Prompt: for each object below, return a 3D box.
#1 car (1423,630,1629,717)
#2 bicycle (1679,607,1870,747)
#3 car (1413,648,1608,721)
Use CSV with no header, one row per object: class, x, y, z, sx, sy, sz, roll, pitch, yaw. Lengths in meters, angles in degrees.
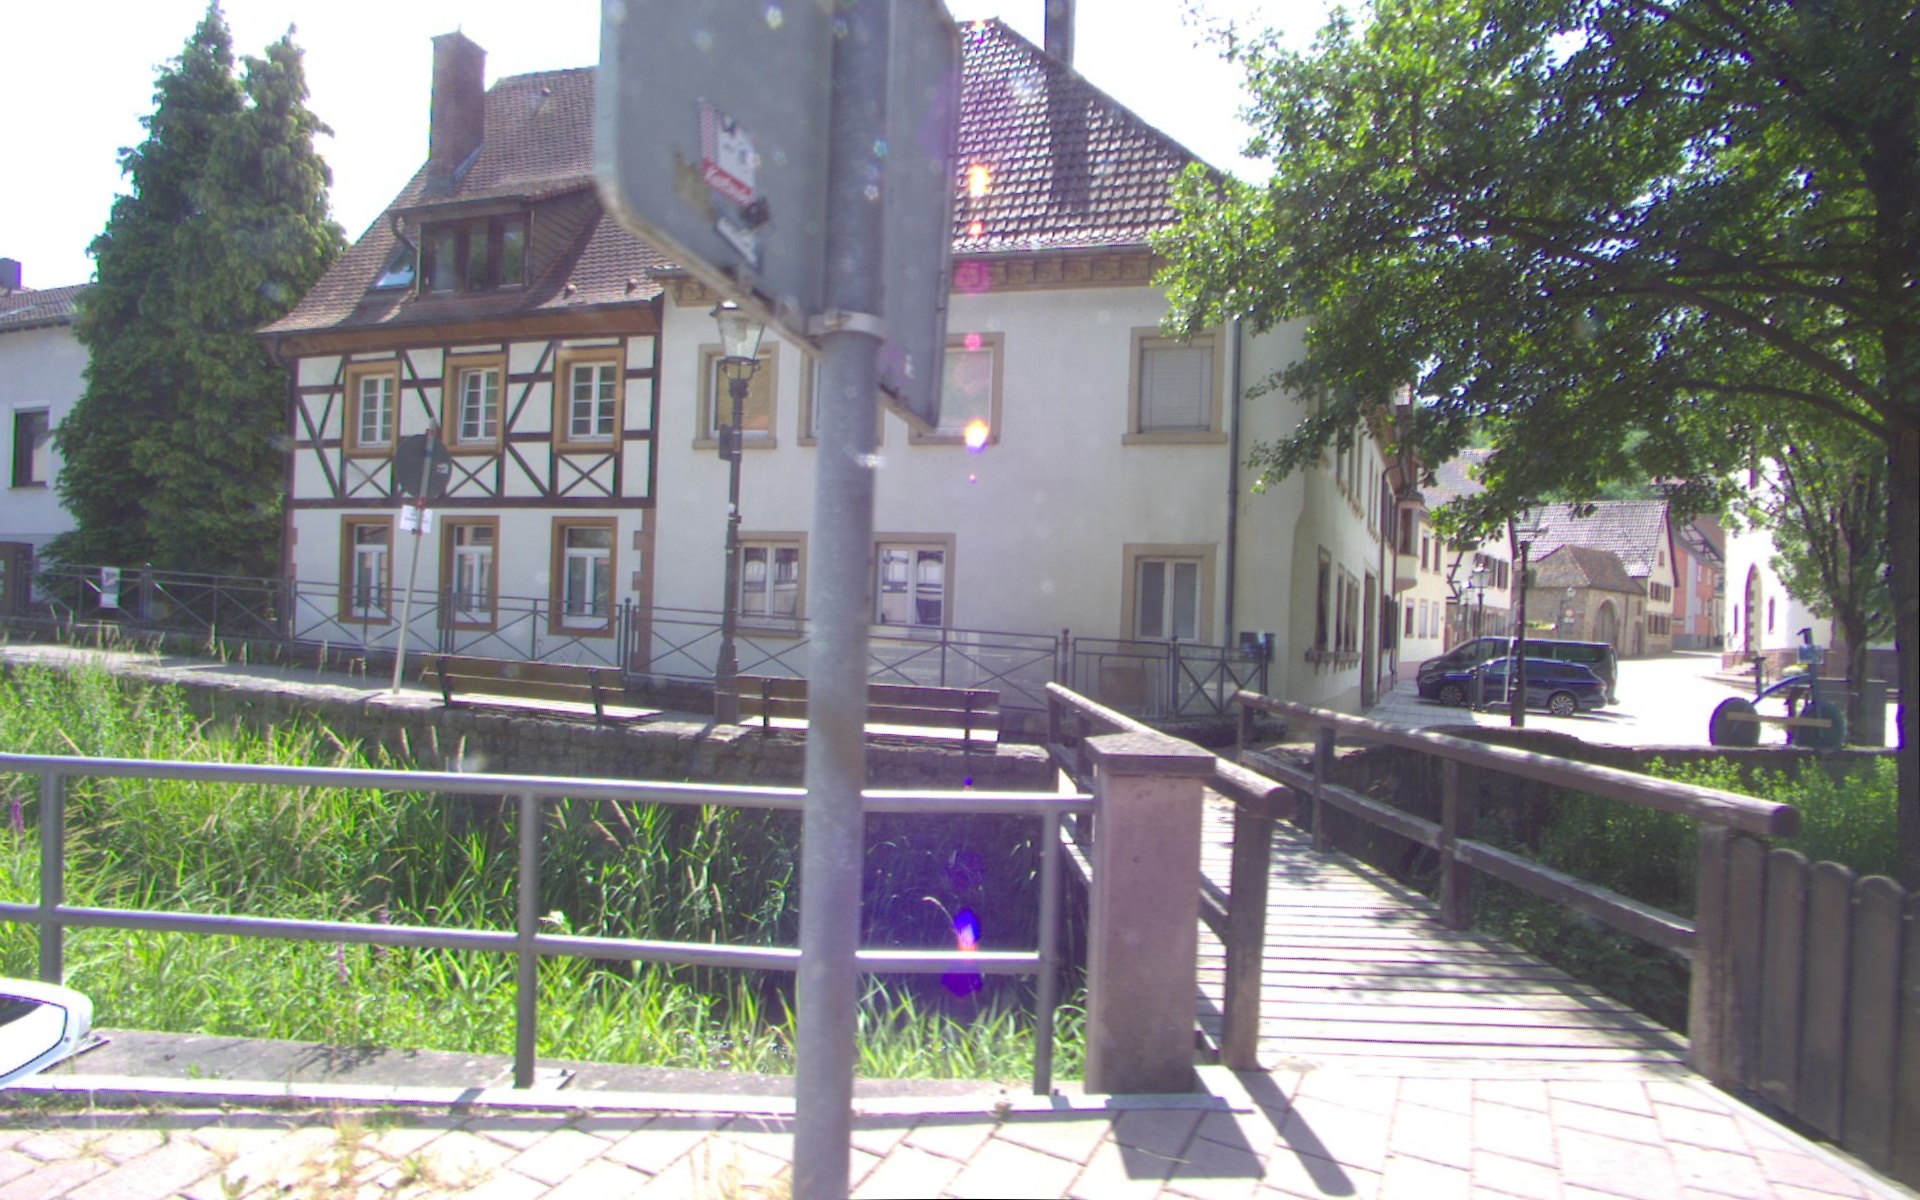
car,16.583,2.081,29.636,5.041,2.054,1.952,4,1,28
bicycle,12.592,1.212,15.495,2.618,2.037,0.783,2,-4,-12
car,14.910,2.240,27.369,4.468,1.501,1.583,4,1,28
